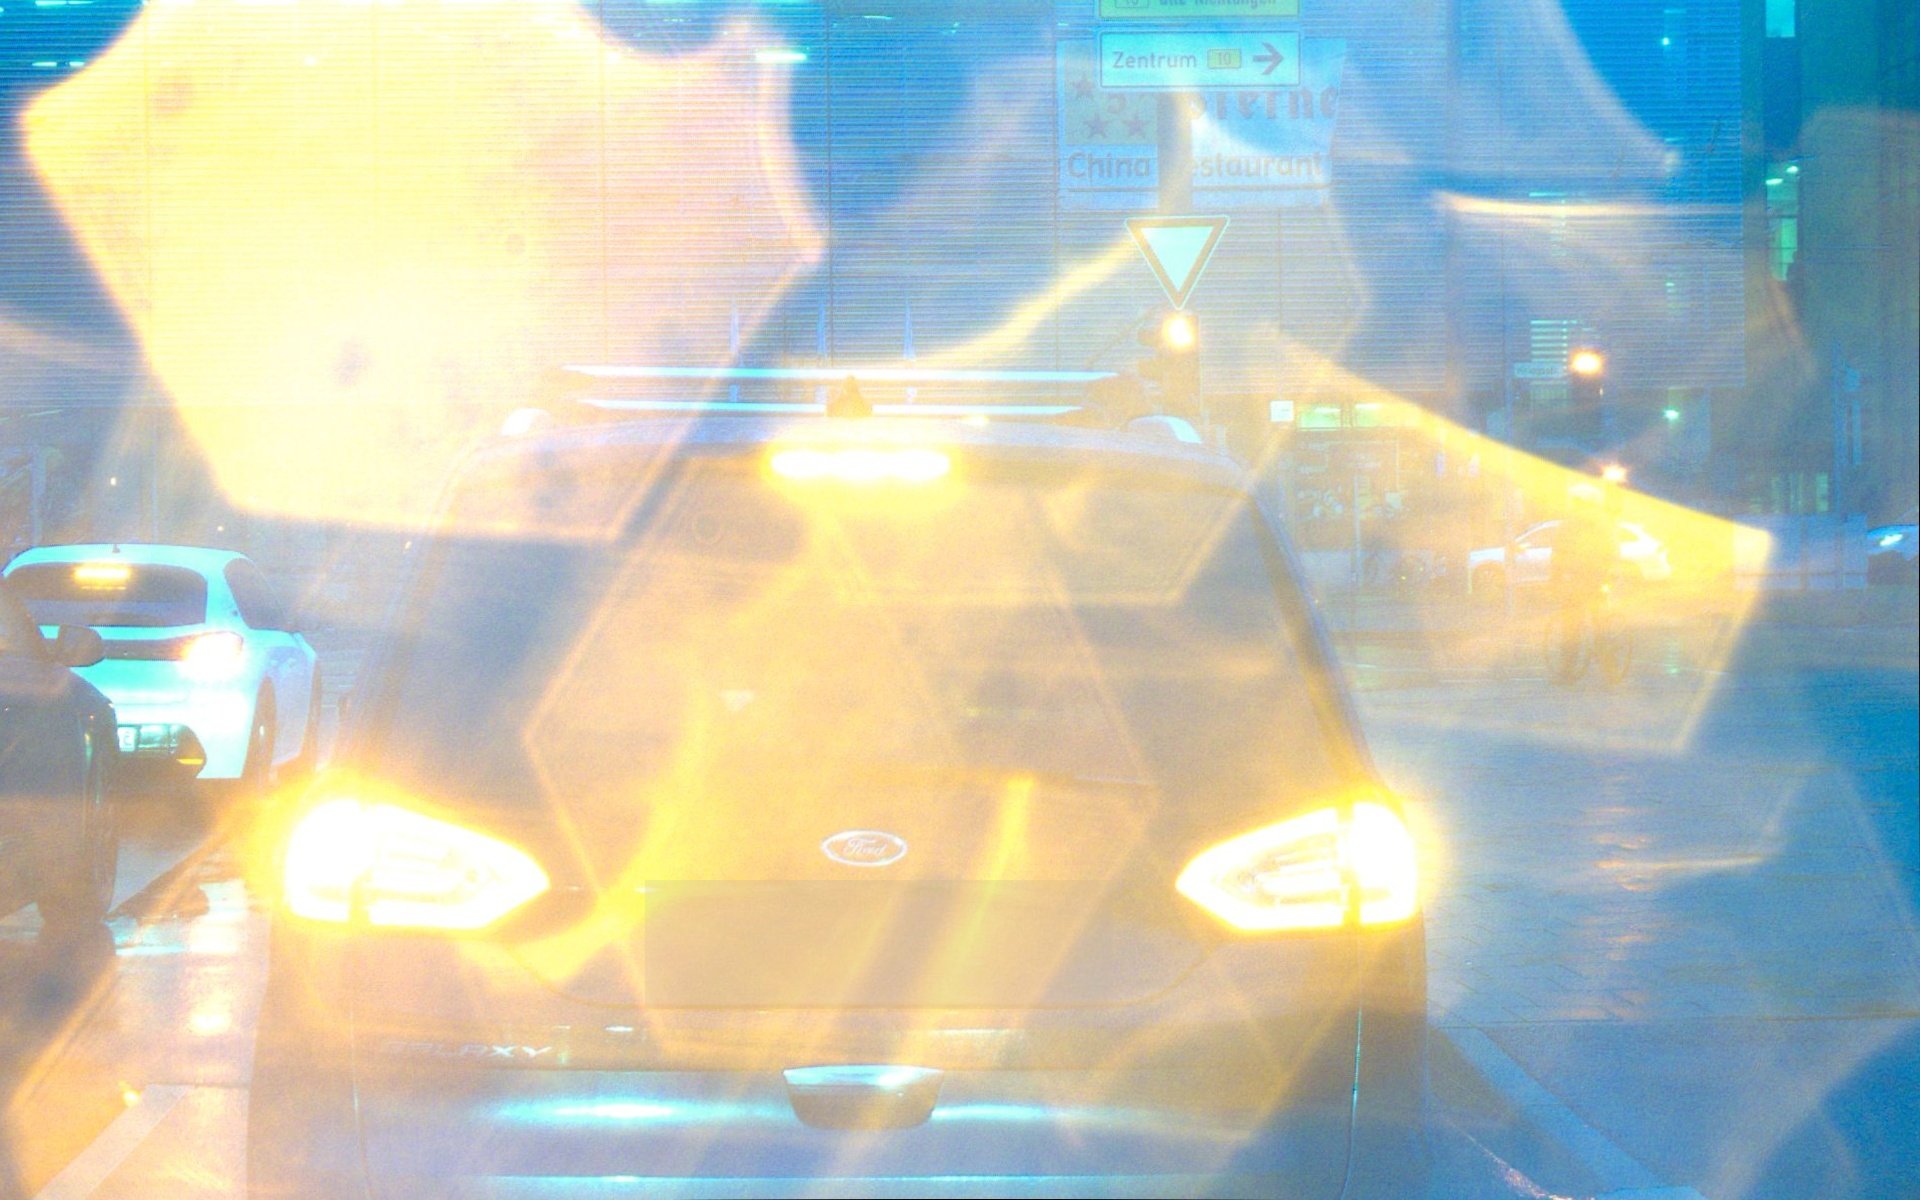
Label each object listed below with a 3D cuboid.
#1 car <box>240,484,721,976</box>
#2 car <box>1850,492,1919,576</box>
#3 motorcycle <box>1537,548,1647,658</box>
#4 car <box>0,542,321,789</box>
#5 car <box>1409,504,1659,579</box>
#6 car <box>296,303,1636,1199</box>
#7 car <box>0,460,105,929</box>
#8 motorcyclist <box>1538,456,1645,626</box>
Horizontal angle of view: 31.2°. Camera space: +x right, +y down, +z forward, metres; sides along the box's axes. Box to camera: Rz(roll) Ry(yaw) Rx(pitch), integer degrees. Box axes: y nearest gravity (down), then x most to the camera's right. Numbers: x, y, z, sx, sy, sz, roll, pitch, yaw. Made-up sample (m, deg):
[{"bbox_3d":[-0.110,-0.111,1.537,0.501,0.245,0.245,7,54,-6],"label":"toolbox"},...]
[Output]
[{"bbox_3d":[-1.808,0.425,13.694,1.636,1.691,3.671,1,1,-5],"label":"car"},{"bbox_3d":[19.810,-1.304,66.945,4.418,1.589,1.800,-1,1,-7],"label":"car"},{"bbox_3d":[5.806,0.017,31.657,0.853,0.968,1.581,0,1,5],"label":"motorcycle"},{"bbox_3d":[-4.504,0.299,19.524,1.540,1.247,4.069,0,1,-8],"label":"car"},{"bbox_3d":[11.065,-1.135,66.438,4.418,1.385,1.800,-1,1,-7],"label":"car"},{"bbox_3d":[-0.099,0.456,6.661,1.735,1.732,4.247,2,1,-3],"label":"car"},{"bbox_3d":[-4.094,0.323,11.482,1.752,1.568,4.001,-1,1,-4],"label":"car"},{"bbox_3d":[5.806,-0.547,31.662,0.868,1.529,1.108,0,1,5],"label":"motorcyclist"}]
